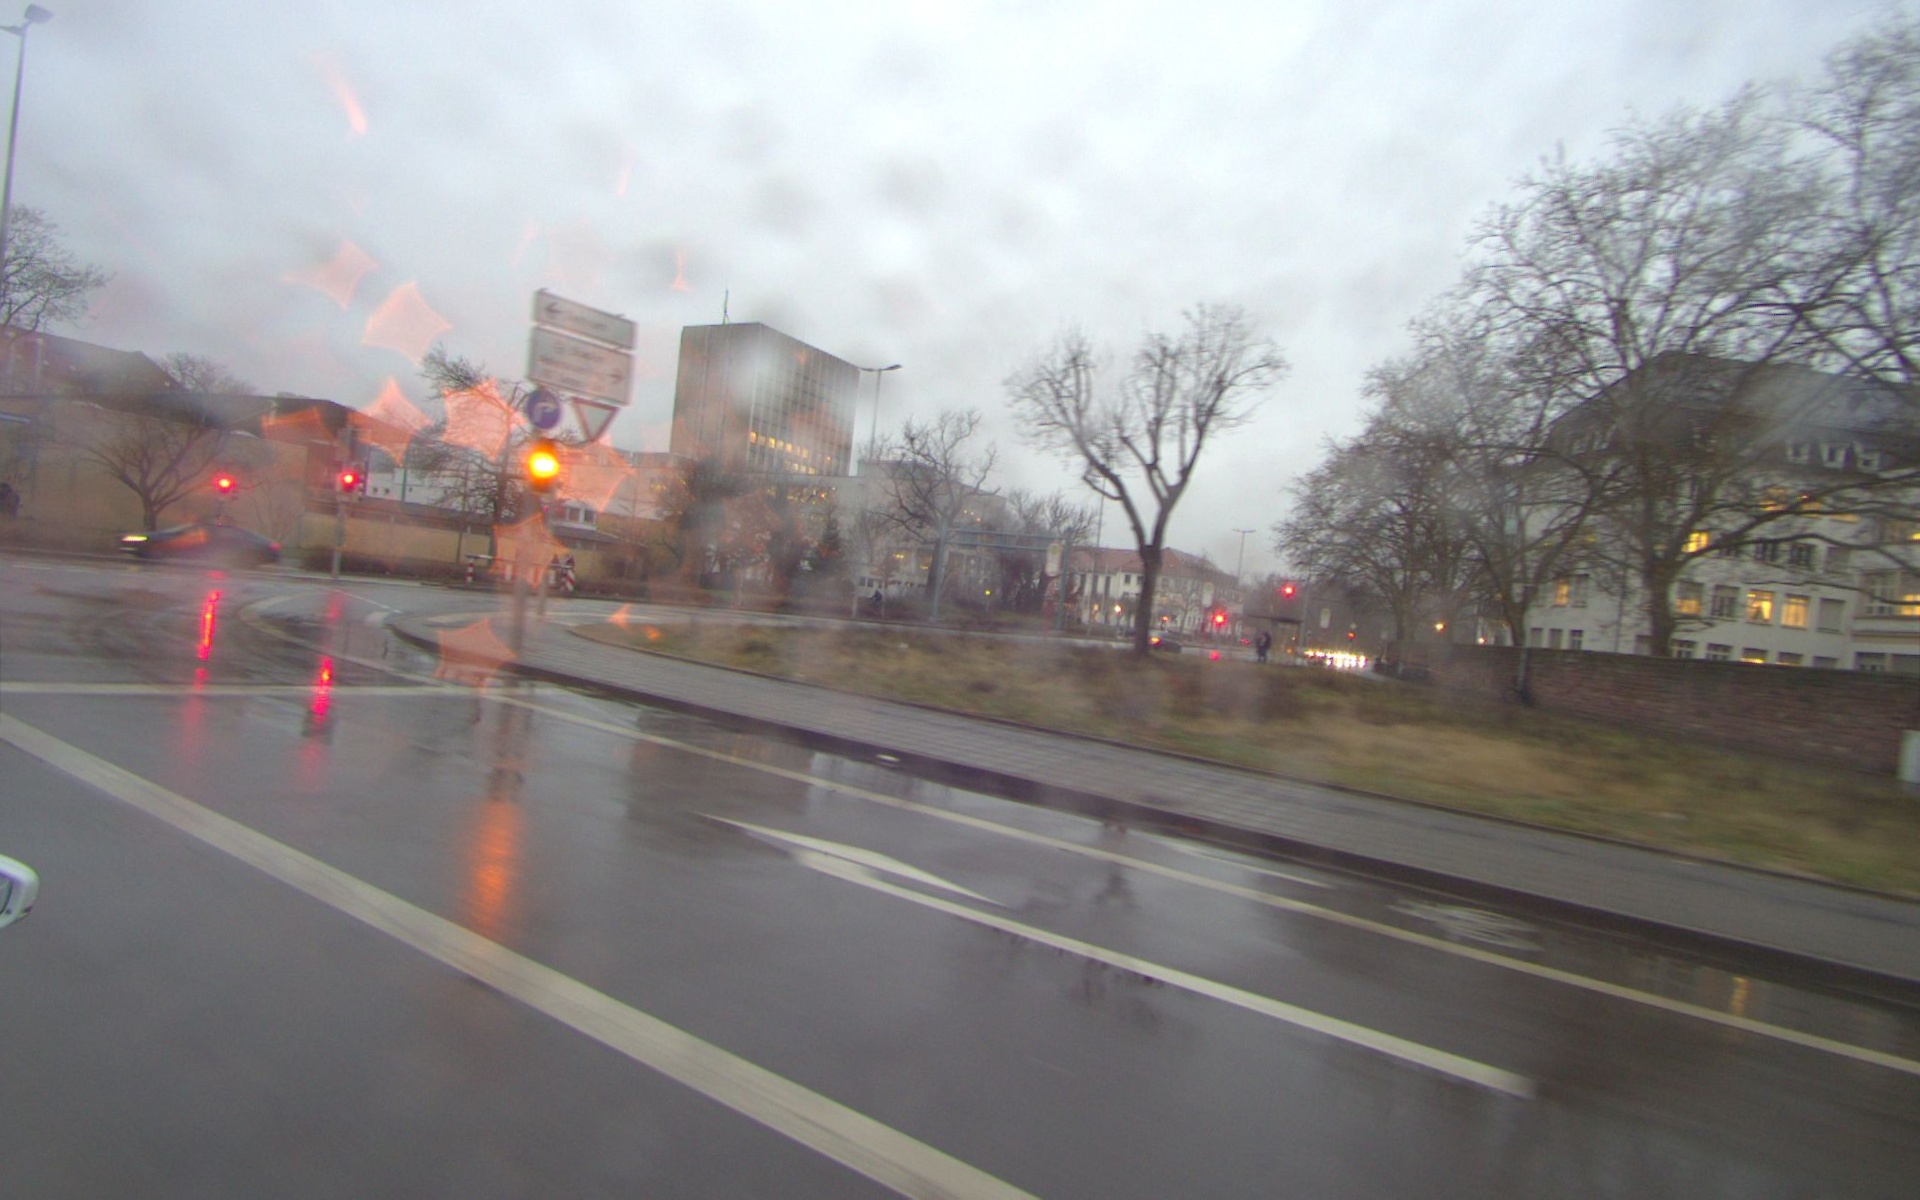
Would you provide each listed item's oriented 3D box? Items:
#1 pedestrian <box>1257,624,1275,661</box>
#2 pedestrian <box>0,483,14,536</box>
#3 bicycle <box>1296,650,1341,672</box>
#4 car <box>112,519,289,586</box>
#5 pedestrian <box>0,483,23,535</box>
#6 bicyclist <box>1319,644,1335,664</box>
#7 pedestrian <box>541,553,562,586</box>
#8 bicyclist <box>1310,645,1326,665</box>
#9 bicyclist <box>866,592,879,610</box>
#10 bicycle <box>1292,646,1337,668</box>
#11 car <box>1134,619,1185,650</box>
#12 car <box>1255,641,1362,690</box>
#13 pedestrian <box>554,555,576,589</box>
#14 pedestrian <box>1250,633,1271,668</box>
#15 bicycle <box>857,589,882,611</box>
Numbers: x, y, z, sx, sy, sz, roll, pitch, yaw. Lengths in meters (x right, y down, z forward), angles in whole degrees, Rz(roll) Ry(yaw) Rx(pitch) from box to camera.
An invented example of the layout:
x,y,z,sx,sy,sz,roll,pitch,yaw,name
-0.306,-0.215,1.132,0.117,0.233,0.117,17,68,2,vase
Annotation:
x,y,z,sx,sy,sz,roll,pitch,yaw,name
16.015,2.247,52.610,0.633,1.857,0.836,5,-1,23,pedestrian
-34.751,-3.277,36.508,0.456,1.860,0.434,7,-1,-41,pedestrian
20.782,3.543,58.326,2.373,1.003,0.479,5,-2,31,bicycle
-25.473,-1.558,33.848,1.943,1.598,4.424,4,-3,44,car
-35.267,-3.363,37.420,0.435,1.860,0.455,7,-1,-40,pedestrian
21.365,3.166,58.596,0.690,1.092,0.494,5,-2,32,bicyclist
-22.699,-1.686,55.856,0.749,1.745,0.623,5,-2,38,pedestrian
20.770,3.172,58.380,0.690,1.092,0.494,5,-2,32,bicyclist
-6.661,0.089,76.442,0.599,1.261,0.698,5,-2,40,bicyclist
20.807,3.335,59.054,2.373,1.003,0.537,5,-2,31,bicycle
12.919,2.248,65.058,1.861,1.670,3.636,5,-3,35,car
9.330,1.759,26.893,2.656,0.989,1.290,7,1,-34,car
-21.591,-1.523,54.979,0.749,1.745,0.623,5,-2,38,pedestrian
16.755,2.803,56.037,0.823,1.857,0.667,5,-1,34,pedestrian
-6.879,0.029,76.224,0.584,1.439,1.922,5,-2,40,bicycle
